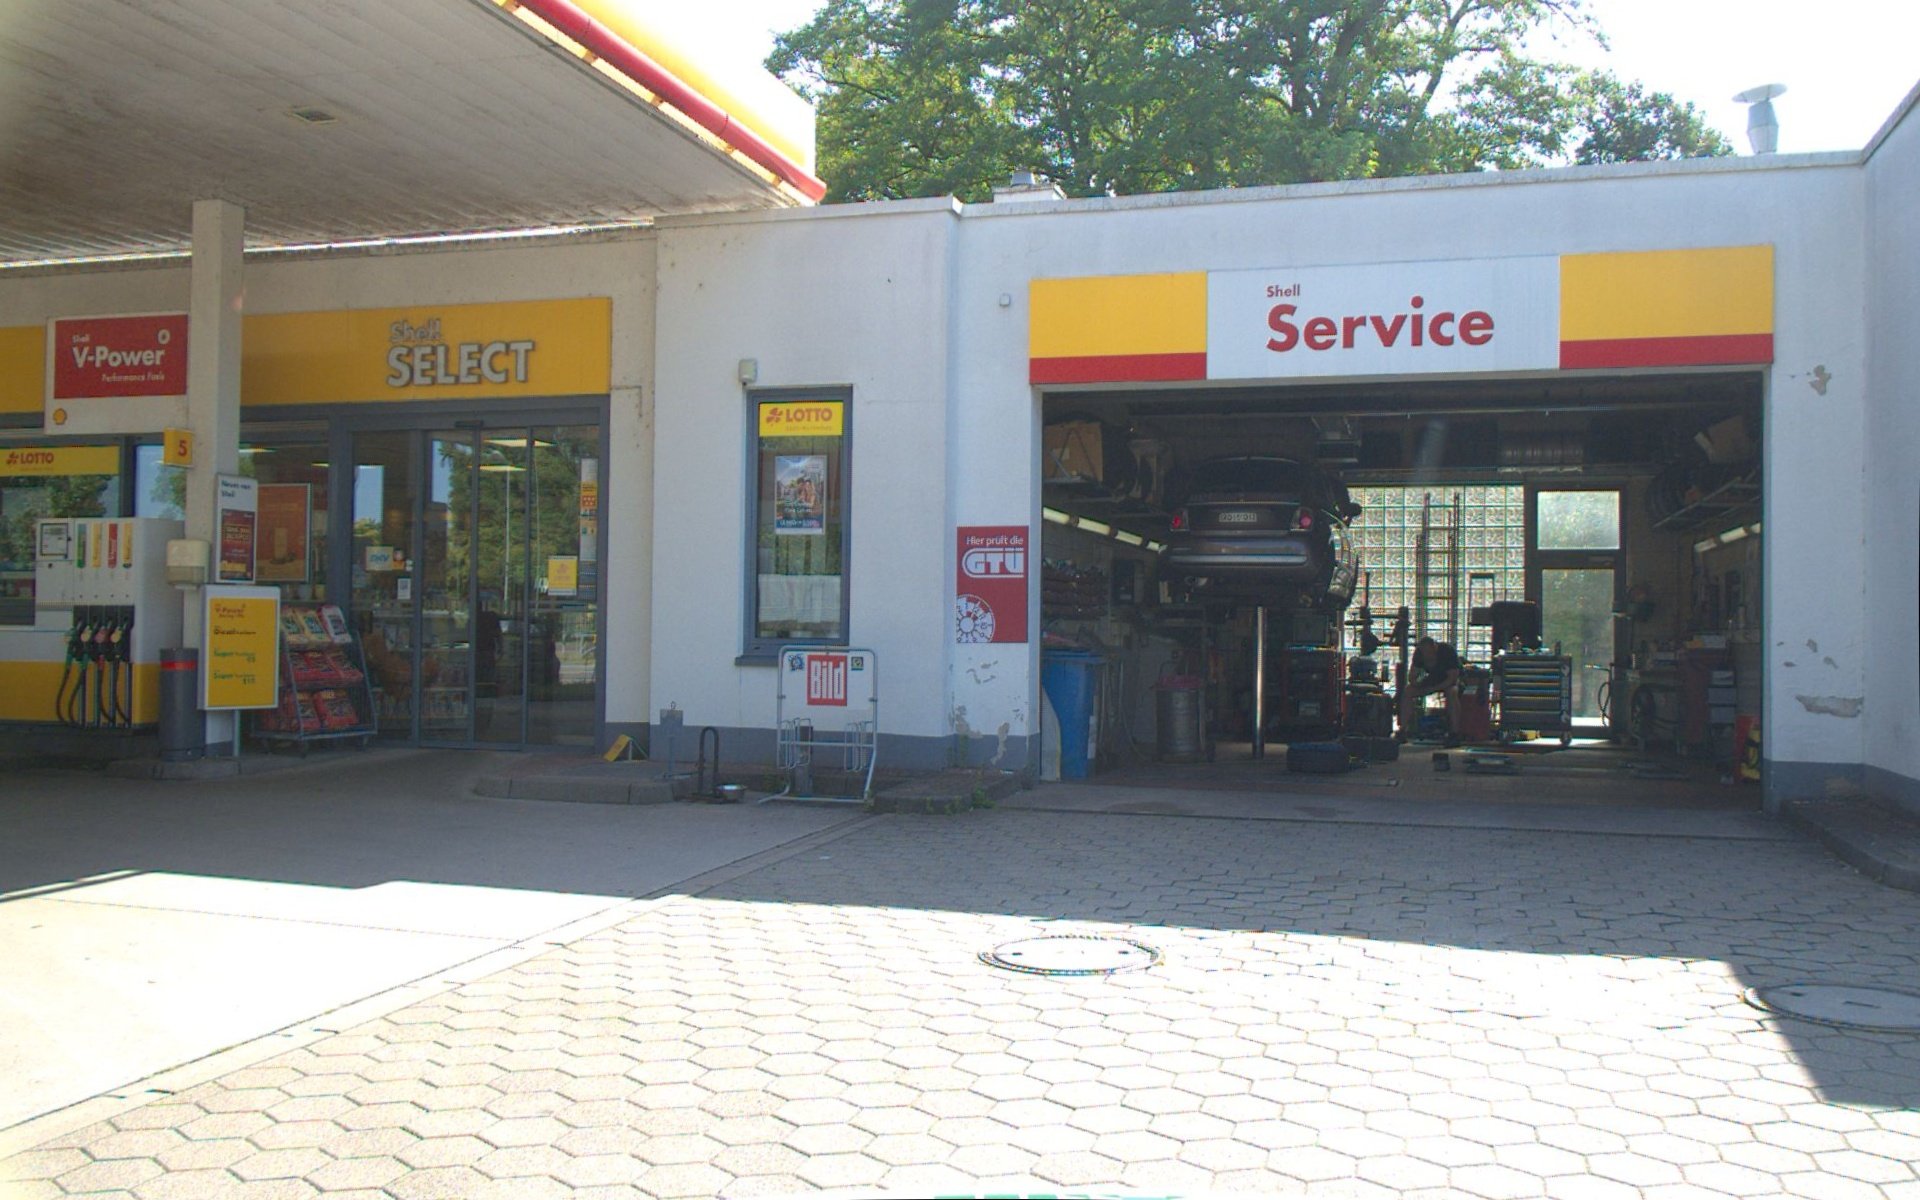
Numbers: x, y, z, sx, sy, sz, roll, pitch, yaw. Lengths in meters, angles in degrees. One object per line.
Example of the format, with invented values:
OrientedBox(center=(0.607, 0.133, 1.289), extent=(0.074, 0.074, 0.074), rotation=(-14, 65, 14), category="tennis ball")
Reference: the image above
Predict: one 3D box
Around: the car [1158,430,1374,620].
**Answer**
OrientedBox(center=(3.200, -0.642, 16.722), extent=(1.612, 1.512, 4.001), rotation=(0, -3, 18), category="car")

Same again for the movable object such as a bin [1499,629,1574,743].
OrientedBox(center=(6.489, 0.968, 18.646), extent=(0.780, 1.258, 0.544), rotation=(0, -3, 18), category="movable object such as a bin")

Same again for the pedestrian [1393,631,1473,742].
OrientedBox(center=(5.312, 0.970, 18.609), extent=(0.845, 1.219, 0.743), rotation=(0, -3, 15), category="pedestrian")
